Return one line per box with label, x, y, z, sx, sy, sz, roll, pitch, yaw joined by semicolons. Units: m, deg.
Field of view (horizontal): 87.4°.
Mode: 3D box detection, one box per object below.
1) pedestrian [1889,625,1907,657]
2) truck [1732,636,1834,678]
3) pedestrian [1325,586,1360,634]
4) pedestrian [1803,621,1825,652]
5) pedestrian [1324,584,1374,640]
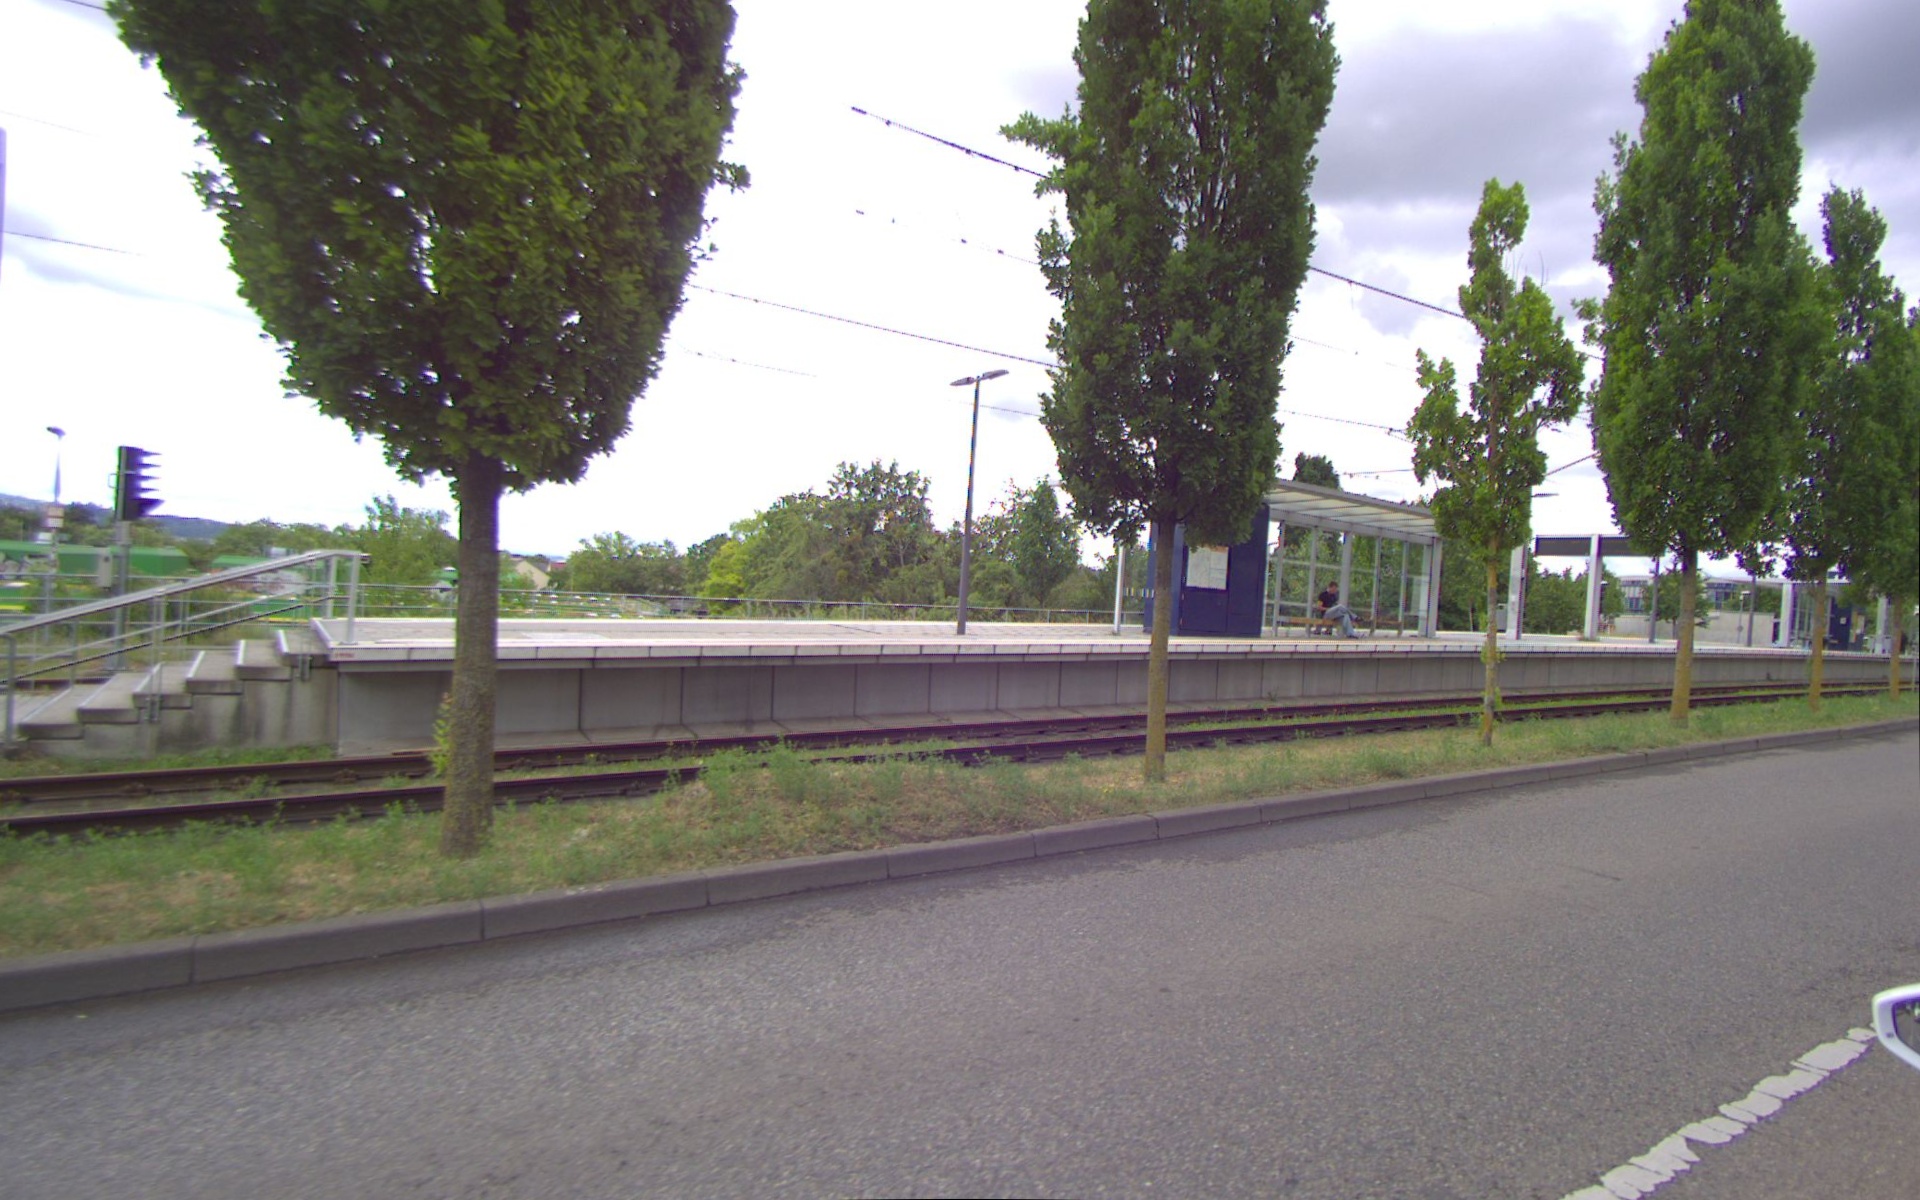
pedestrian;55.590;2.429;59.538;0.786;1.851;0.568;4;-1;-37
truck;80.329;5.502;98.140;2.659;3.647;7.207;1;0;-29
pedestrian;8.931;0.237;23.447;0.465;1.093;0.603;1;1;-34
pedestrian;37.144;1.574;43.667;0.654;1.286;0.605;0;1;-39
pedestrian;8.602;0.259;22.227;0.658;1.215;0.756;2;0;-34
